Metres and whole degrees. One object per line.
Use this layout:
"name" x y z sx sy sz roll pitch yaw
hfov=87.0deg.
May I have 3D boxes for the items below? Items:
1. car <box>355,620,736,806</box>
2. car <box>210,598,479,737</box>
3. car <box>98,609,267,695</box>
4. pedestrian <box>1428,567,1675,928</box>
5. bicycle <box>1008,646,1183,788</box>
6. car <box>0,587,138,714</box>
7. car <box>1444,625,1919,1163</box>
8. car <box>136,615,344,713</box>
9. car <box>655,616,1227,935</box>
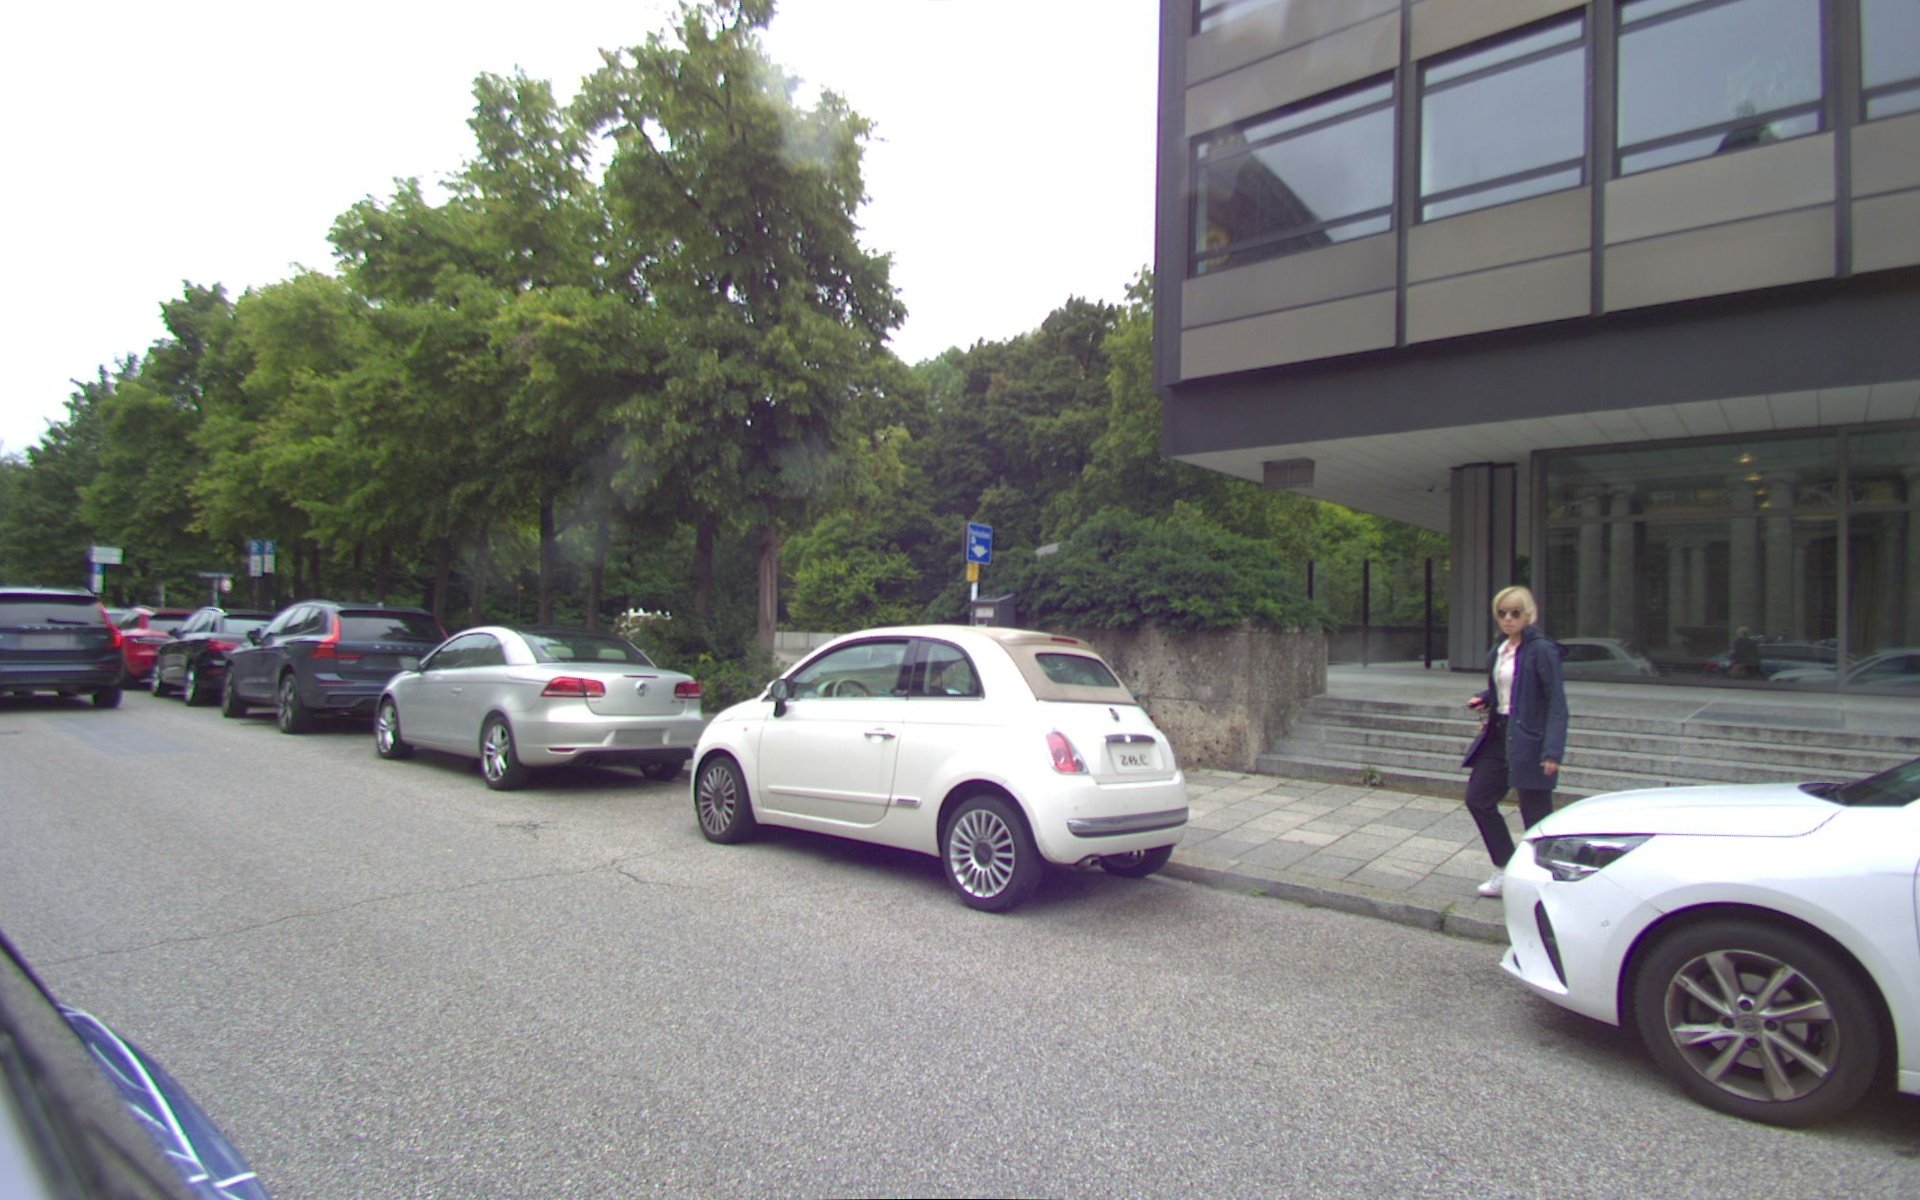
"car" -4.172 0.962 9.846 4.217 1.411 1.739 -1 -5 43
"car" -8.557 0.866 13.893 4.523 1.595 1.971 -1 -5 44
"car" -15.971 1.011 20.702 4.363 1.555 1.972 -1 -3 42
"pedestrian" 3.101 0.732 5.363 0.879 1.765 0.691 1 -1 -8
"bicycle" 1.256 1.048 9.535 1.526 1.173 0.636 -1 0 40
"car" -14.359 0.709 15.422 4.909 1.694 1.940 0 -3 41
"car" 3.873 0.867 2.800 4.278 1.451 1.663 0 -5 42
"car" -12.562 1.020 17.547 4.646 1.472 1.972 -1 -3 42
"car" -0.282 0.883 6.507 3.551 1.482 1.527 -1 -4 41
